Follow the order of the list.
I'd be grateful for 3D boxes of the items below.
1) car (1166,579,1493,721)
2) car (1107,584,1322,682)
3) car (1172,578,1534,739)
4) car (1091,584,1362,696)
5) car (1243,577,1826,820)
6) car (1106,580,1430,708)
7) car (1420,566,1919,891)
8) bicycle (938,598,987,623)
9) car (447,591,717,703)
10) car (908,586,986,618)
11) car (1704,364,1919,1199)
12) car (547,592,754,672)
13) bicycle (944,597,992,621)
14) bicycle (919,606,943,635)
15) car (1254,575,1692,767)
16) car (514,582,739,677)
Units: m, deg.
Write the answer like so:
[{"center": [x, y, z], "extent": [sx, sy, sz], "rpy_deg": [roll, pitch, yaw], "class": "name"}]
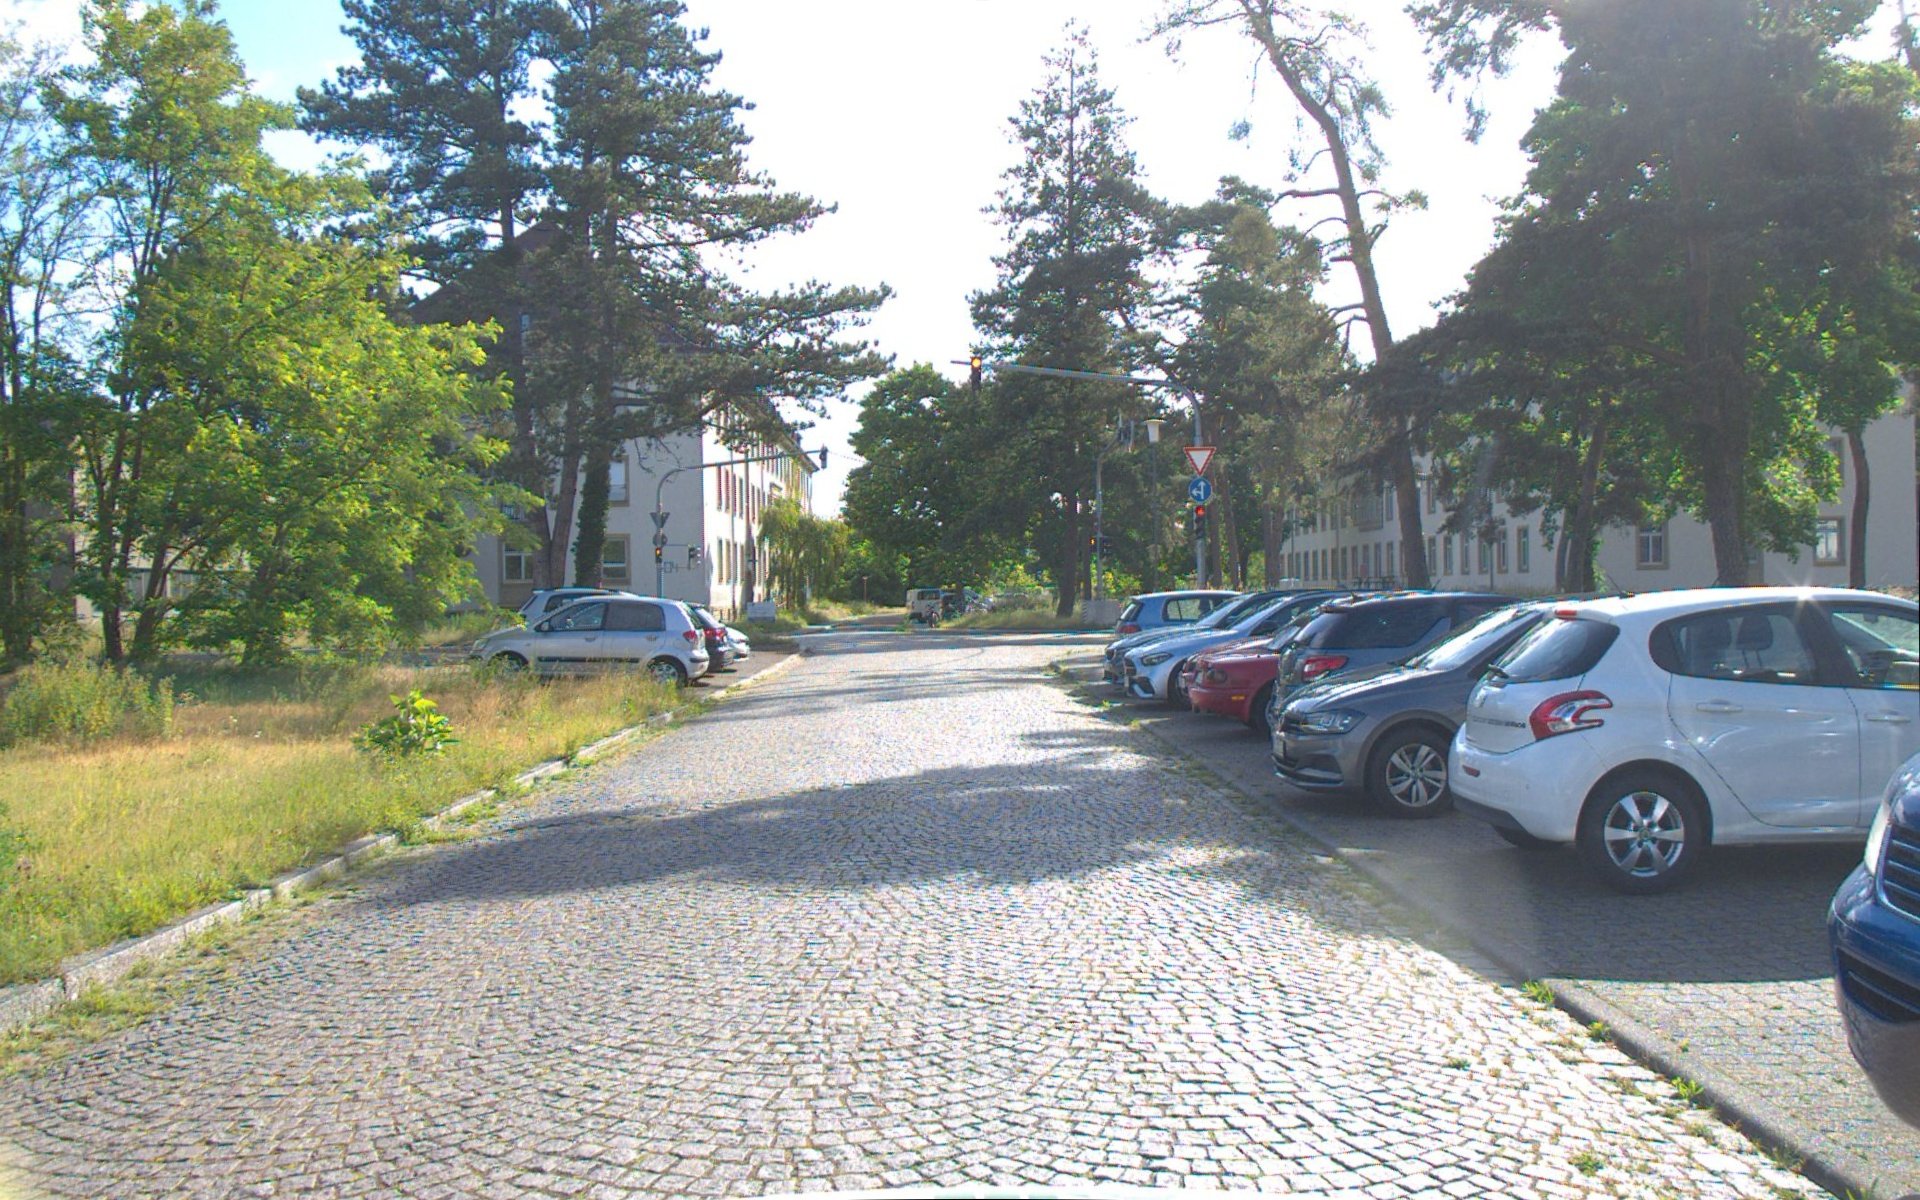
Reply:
[{"center": [4.384, 0.567, 19.949], "extent": [3.530, 1.556, 1.645], "rpy_deg": [-1, 0, -3], "class": "car"}, {"center": [4.189, 0.528, 27.539], "extent": [3.276, 1.508, 1.645], "rpy_deg": [-1, 0, -3], "class": "car"}, {"center": [4.096, 0.586, 17.585], "extent": [3.408, 1.556, 1.645], "rpy_deg": [-1, 0, -3], "class": "car"}, {"center": [3.948, 0.571, 24.893], "extent": [3.759, 1.556, 1.645], "rpy_deg": [-1, 0, -3], "class": "car"}, {"center": [4.031, 0.652, 11.972], "extent": [3.602, 1.492, 1.645], "rpy_deg": [-2, 0, -3], "class": "car"}, {"center": [4.056, 0.561, 22.124], "extent": [3.955, 1.556, 1.644], "rpy_deg": [-1, 0, -5], "class": "car"}, {"center": [4.597, 0.608, 9.098], "extent": [3.619, 1.491, 1.645], "rpy_deg": [-3, 0, -1], "class": "car"}, {"center": [0.112, 0.485, 76.440], "extent": [2.134, 1.119, 0.805], "rpy_deg": [-1, 0, -11], "class": "bicycle"}, {"center": [-5.974, 0.716, 26.523], "extent": [3.908, 1.628, 1.998], "rpy_deg": [-1, 0, -4], "class": "car"}, {"center": [-0.749, 0.110, 93.893], "extent": [4.390, 1.758, 1.999], "rpy_deg": [-1, 0, -2], "class": "car"}, {"center": [4.510, 0.435, 3.897], "extent": [4.585, 2.049, 2.082], "rpy_deg": [-1, 0, -4], "class": "car"}, {"center": [-6.344, 0.638, 34.305], "extent": [3.906, 1.478, 1.999], "rpy_deg": [2, 0, -2], "class": "car"}, {"center": [0.354, 0.426, 77.583], "extent": [2.134, 1.119, 0.805], "rpy_deg": [-1, 0, -11], "class": "bicycle"}, {"center": [-1.282, 0.901, 72.946], "extent": [0.789, 1.190, 2.177], "rpy_deg": [-3, 0, -7], "class": "bicycle"}, {"center": [4.526, 0.595, 14.903], "extent": [3.408, 1.556, 1.645], "rpy_deg": [-1, 0, -3], "class": "car"}, {"center": [-6.365, 0.548, 31.904], "extent": [3.907, 1.629, 1.999], "rpy_deg": [2, 0, -2], "class": "car"}]
